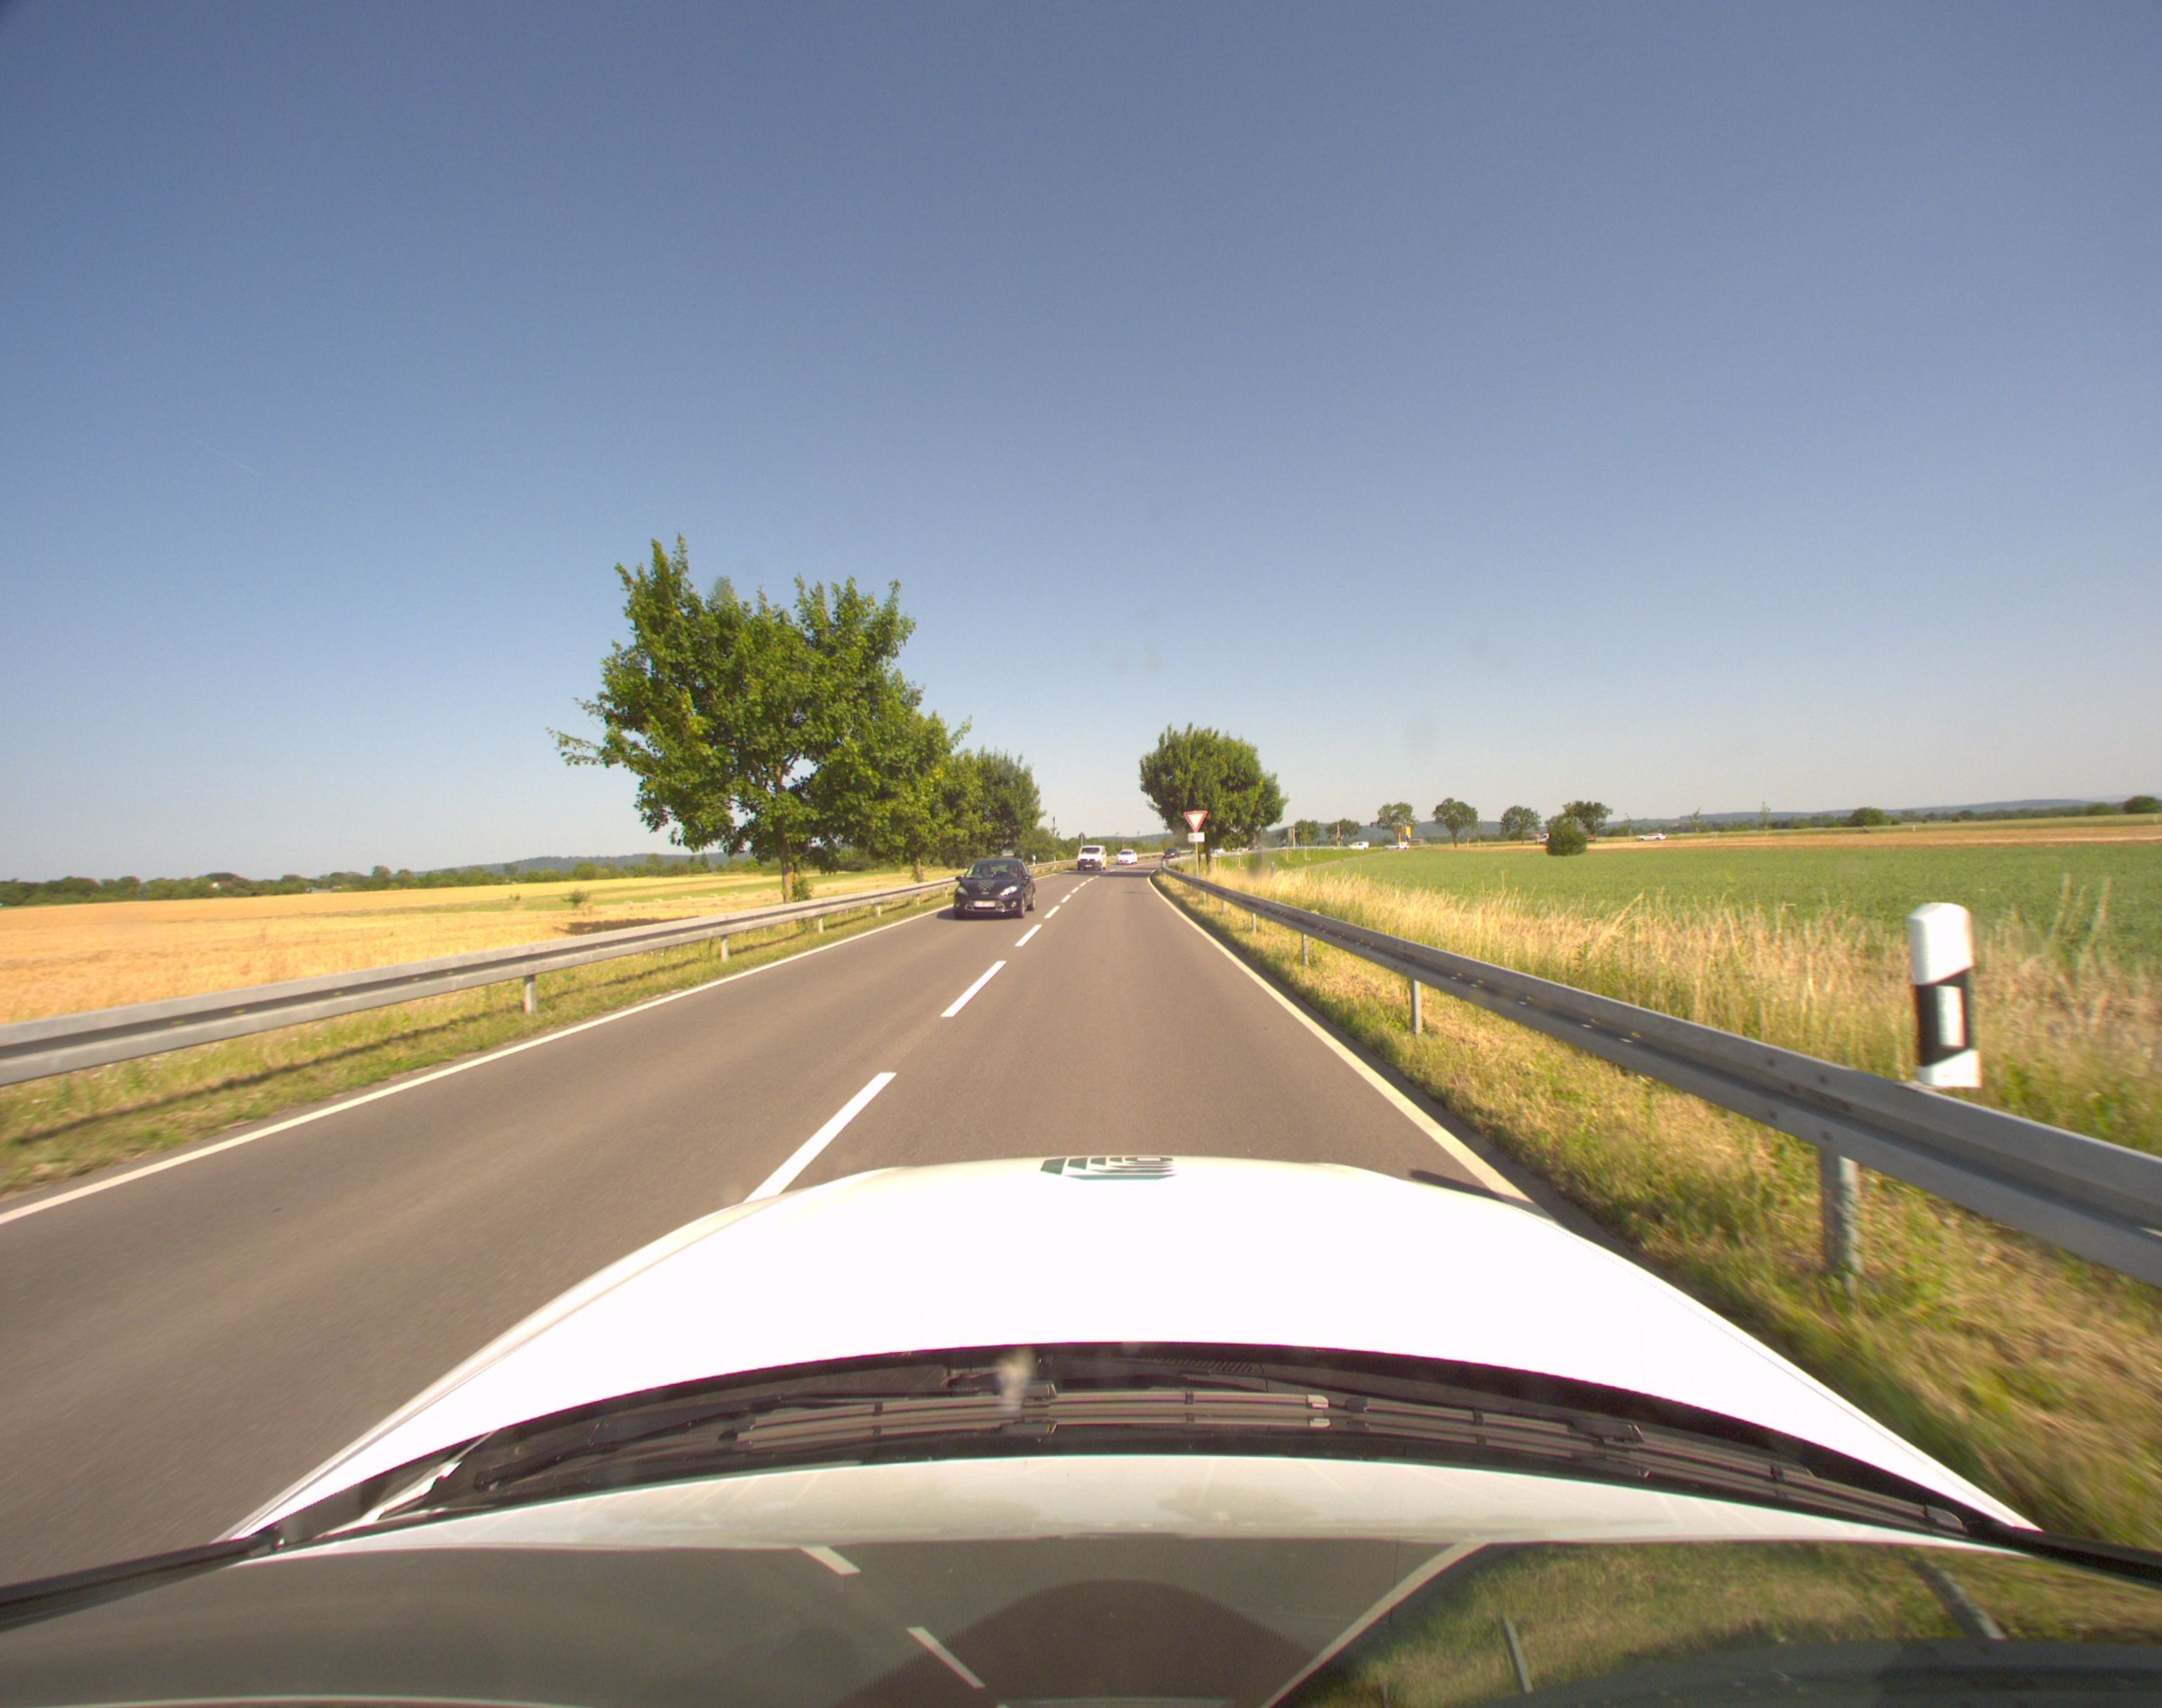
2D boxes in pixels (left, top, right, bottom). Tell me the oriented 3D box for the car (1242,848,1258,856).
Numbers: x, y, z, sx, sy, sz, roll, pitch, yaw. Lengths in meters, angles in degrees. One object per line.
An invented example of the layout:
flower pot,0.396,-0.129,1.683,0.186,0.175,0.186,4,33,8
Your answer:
car,32.097,-0.401,154.524,1.976,1.532,4.617,-1,0,24

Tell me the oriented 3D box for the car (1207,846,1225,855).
car,22.429,-0.579,135.358,1.976,1.532,4.616,-1,0,22

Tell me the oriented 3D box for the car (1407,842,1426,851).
car,78.204,-1.682,189.813,3.950,2.014,2.012,-1,-1,26

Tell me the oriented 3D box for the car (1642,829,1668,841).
car,111.676,-3.704,158.528,3.948,2.014,2.013,-3,-1,39

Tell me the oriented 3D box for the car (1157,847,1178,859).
car,11.595,-0.167,108.971,1.978,1.532,4.612,-1,0,17

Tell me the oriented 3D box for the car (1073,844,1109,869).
car,0.816,0.154,63.784,1.981,1.884,4.605,-1,0,11

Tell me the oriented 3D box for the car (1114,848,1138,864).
car,4.650,0.209,83.674,1.890,1.532,4.606,-1,0,11

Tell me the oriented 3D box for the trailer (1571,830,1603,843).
trailer,103.437,-3.575,166.344,5.390,2.354,3.376,-1,-1,34

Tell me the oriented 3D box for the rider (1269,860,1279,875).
rider,20.804,1.442,87.763,0.603,1.527,1.836,-1,-1,24

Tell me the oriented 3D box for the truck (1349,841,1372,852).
truck,66.305,-1.667,193.059,5.011,2.529,2.009,-1,-1,17

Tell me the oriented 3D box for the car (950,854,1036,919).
car,-2.139,0.754,20.732,1.638,1.471,3.808,-1,0,2

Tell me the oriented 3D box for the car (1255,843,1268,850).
car,38.515,-1.549,173.658,1.976,1.532,4.616,-1,0,22
